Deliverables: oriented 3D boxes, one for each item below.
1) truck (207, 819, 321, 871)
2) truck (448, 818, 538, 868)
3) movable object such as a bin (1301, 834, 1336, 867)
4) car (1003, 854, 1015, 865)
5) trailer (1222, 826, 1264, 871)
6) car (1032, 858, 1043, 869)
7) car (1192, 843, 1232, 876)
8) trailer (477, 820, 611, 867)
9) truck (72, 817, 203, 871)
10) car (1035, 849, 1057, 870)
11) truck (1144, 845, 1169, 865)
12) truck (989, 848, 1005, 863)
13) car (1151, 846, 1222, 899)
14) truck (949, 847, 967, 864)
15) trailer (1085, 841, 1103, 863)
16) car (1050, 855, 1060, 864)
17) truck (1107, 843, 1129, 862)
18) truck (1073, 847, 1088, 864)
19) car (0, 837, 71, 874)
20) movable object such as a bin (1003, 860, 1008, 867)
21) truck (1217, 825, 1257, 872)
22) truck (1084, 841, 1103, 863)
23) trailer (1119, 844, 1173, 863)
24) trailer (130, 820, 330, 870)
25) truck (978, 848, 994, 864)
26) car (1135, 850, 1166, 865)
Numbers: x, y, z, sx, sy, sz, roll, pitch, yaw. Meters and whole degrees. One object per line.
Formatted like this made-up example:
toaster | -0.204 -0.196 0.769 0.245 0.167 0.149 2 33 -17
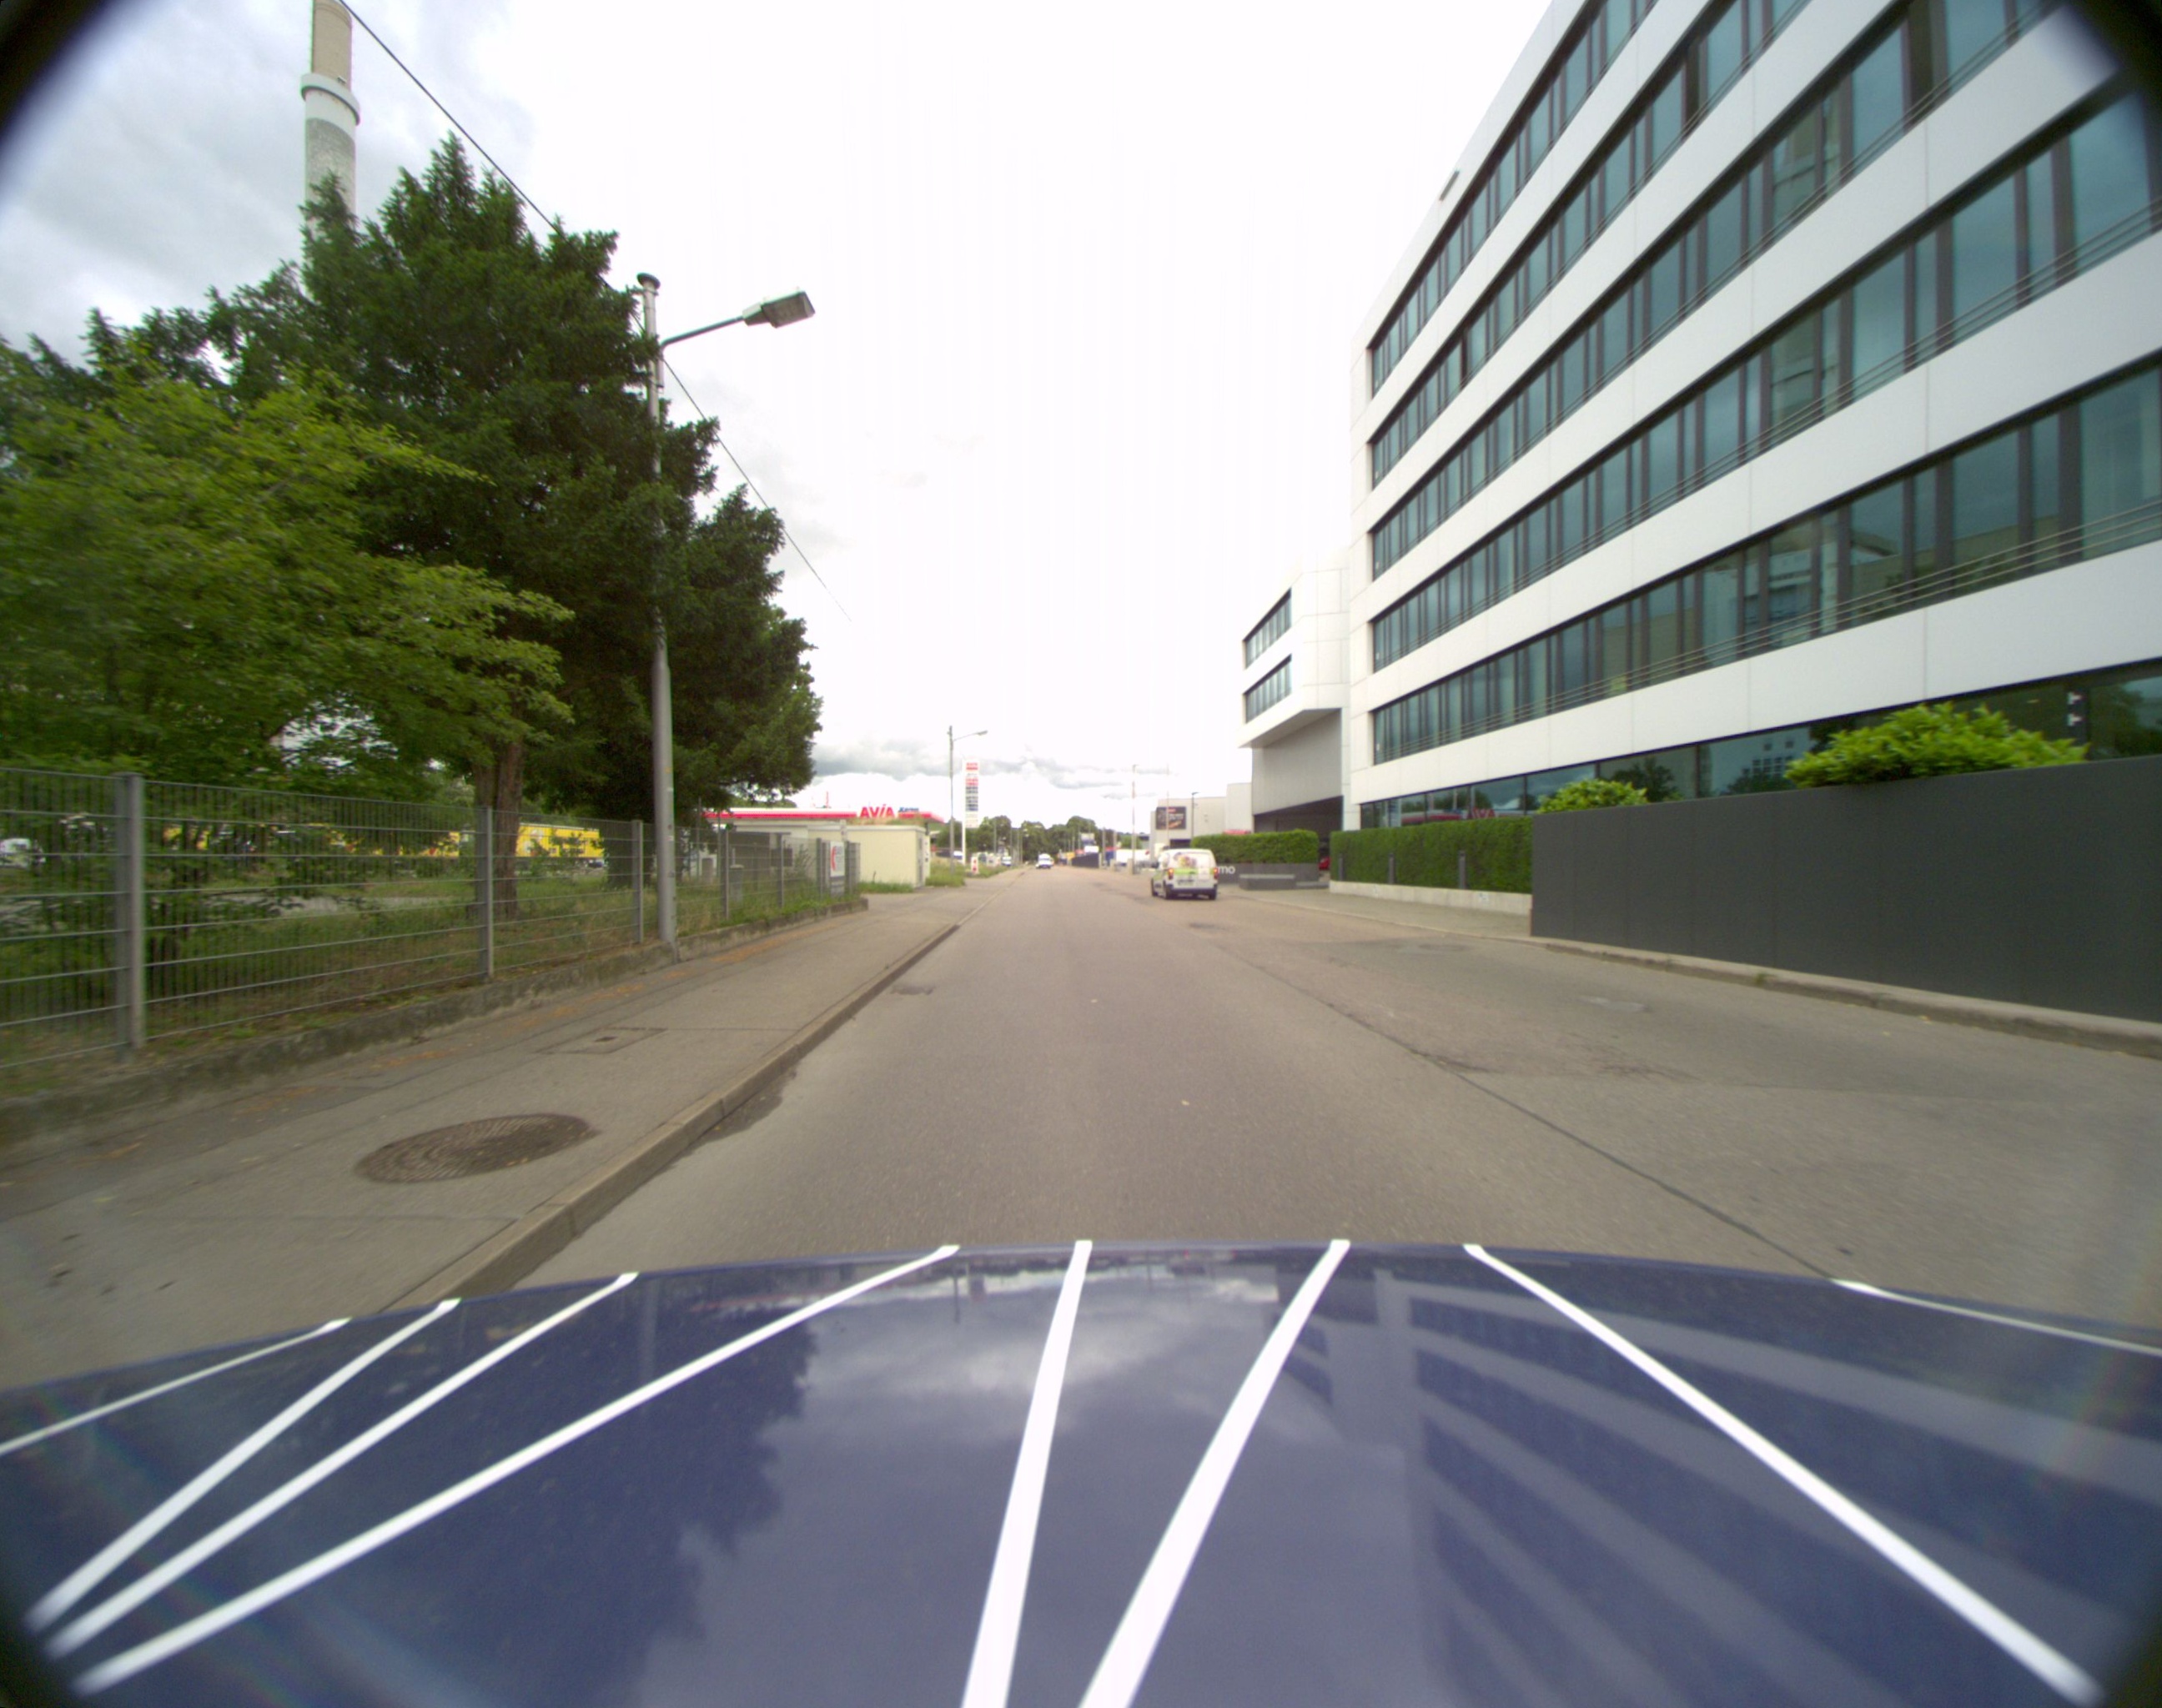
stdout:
truck | -63.976 -0.652 59.718 2.698 3.892 6.039 0 0 -4
truck | -47.967 -0.851 62.265 2.965 3.892 6.039 0 0 -4
movable object such as a bin | 16.251 -0.248 52.015 2.149 2.209 1.755 1 0 20
car | -15.712 1.257 166.131 2.091 2.401 6.083 0 0 -1
trailer | 16.011 -0.411 74.232 2.745 4.007 12.635 -1 -1 18
car | -8.530 1.839 148.415 1.713 2.002 3.887 0 0 -8
car | 7.400 0.292 43.140 1.655 1.751 3.178 -2 0 -1
trailer | -48.464 -0.822 69.469 3.008 3.892 14.297 0 0 -4
truck | -71.893 -0.717 58.132 2.698 3.892 6.039 0 0 -4
car | -6.231 0.999 132.589 3.340 3.586 8.665 0 0 -6
truck | 16.692 0.259 168.444 4.871 4.180 3.053 2 0 19
truck | -21.656 0.460 196.259 2.877 3.608 6.746 1 -1 -18
car | 3.727 0.618 27.633 1.813 1.754 4.204 -2 0 -2
truck | -29.550 0.367 182.388 2.878 4.070 6.744 1 -1 -22
trailer | 2.538 -0.313 151.774 3.367 4.135 13.849 2 0 1
car | -7.254 1.488 214.919 1.997 2.401 5.259 -1 -1 6
truck | 8.508 -0.316 175.288 4.879 4.108 3.048 2 0 -2
truck | -0.132 0.283 179.480 3.022 3.826 5.669 2 0 -3
car | -49.493 0.058 34.196 1.967 1.636 4.652 0 0 -4
movable object such as a bin | -11.756 1.473 117.773 0.717 1.075 0.662 0 0 -9
truck | 14.146 -0.433 68.441 2.745 4.007 7.102 -1 0 18
truck | 2.424 -0.337 143.966 3.367 4.135 5.627 2 0 1
trailer | 14.920 -0.151 174.245 12.023 4.108 3.052 2 0 16
trailer | -72.386 -0.670 65.452 2.698 3.892 13.684 0 0 -4
truck | -23.998 0.624 192.046 2.877 3.989 6.746 1 -1 -18
car | 12.912 0.644 141.598 5.423 2.714 2.244 -2 -1 16
